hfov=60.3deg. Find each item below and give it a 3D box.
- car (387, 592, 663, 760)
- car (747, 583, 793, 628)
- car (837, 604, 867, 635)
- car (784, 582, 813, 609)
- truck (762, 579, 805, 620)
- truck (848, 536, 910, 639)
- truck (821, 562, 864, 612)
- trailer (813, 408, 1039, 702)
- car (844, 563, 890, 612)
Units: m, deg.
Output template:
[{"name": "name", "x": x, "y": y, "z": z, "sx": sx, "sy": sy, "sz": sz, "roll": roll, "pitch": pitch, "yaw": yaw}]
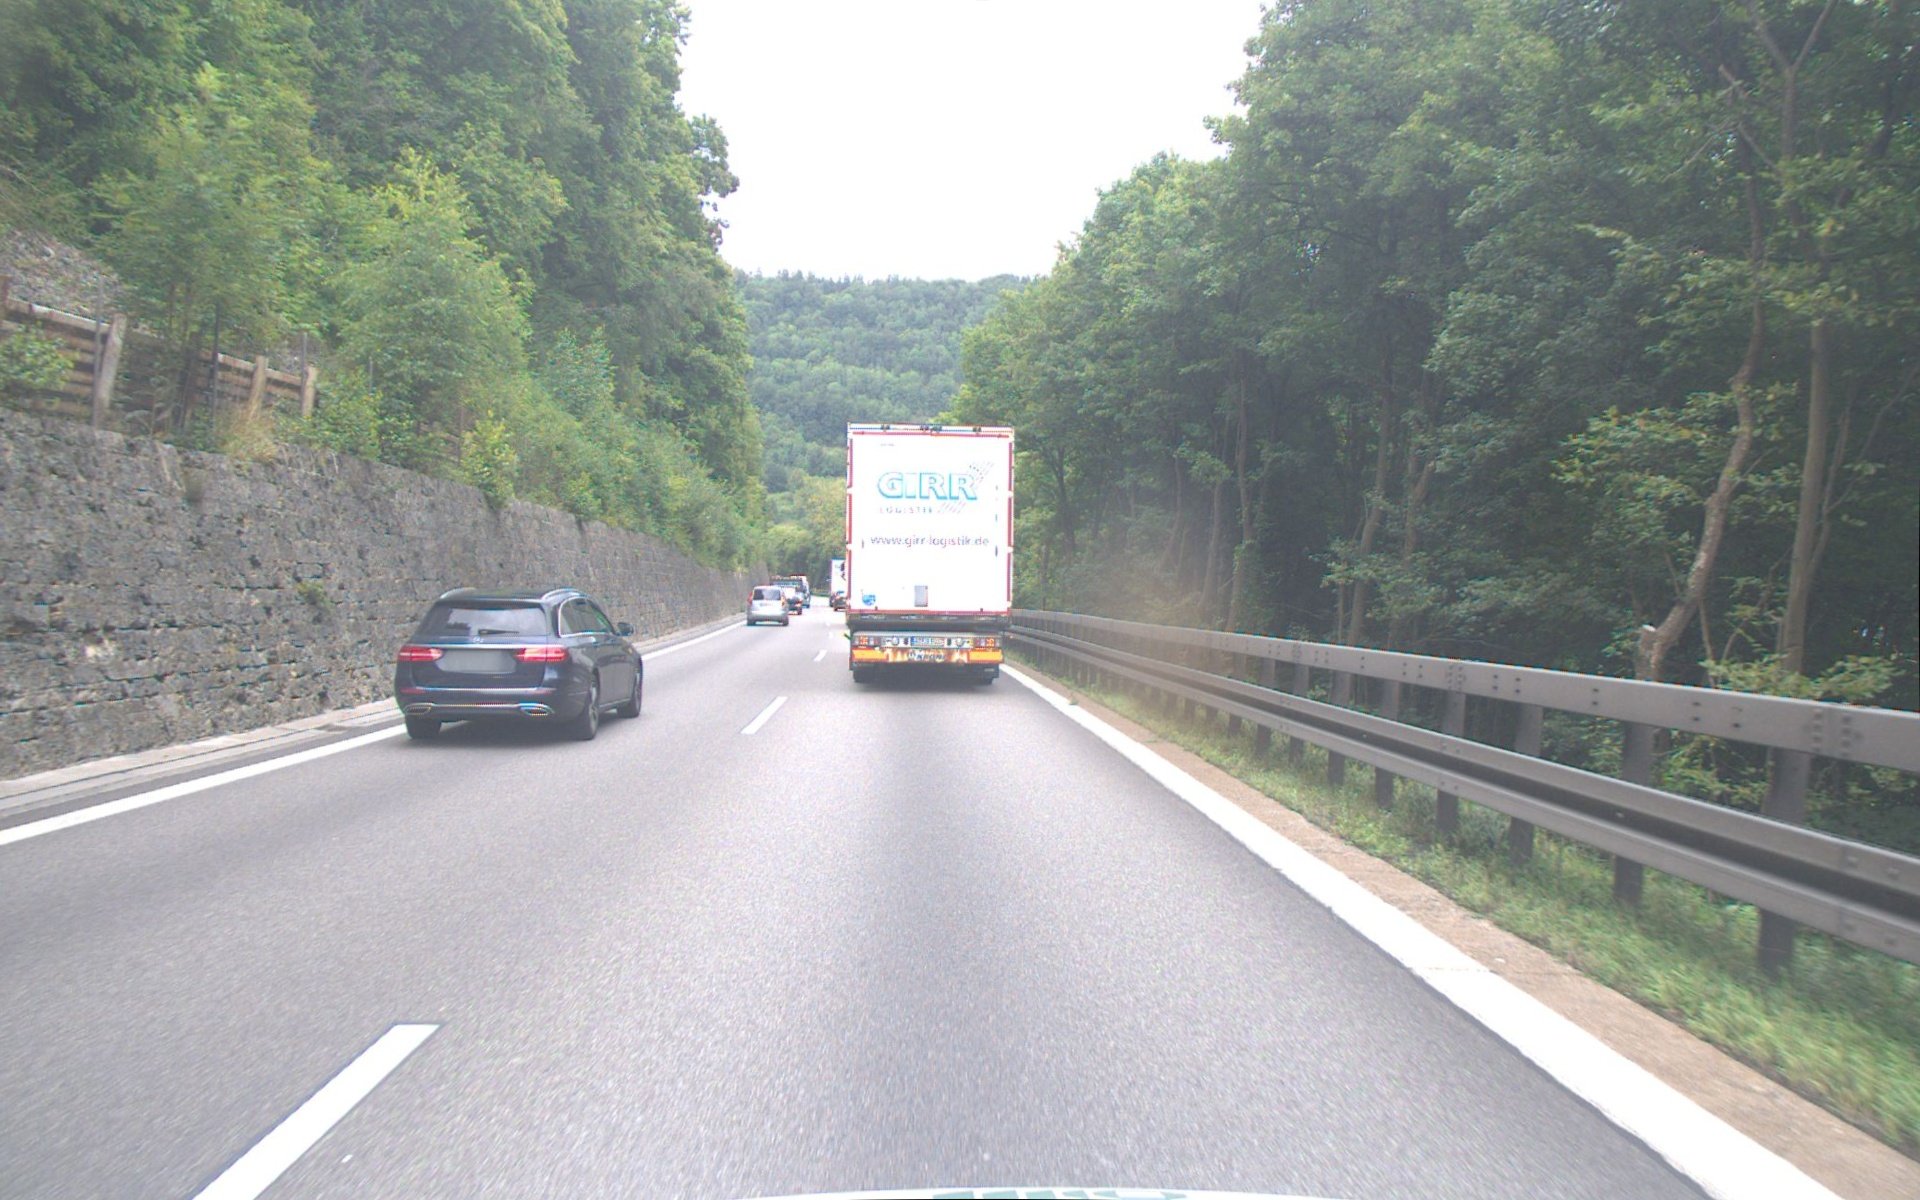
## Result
[{"name": "car", "x": -4.457, "y": 0.689, "z": 17.764, "sx": 1.725, "sy": 1.489, "sz": 5.121, "roll": 1, "pitch": 0, "yaw": -2}, {"name": "car", "x": -7.913, "y": 0.233, "z": 69.143, "sx": 1.601, "sy": 1.757, "sz": 4.342, "roll": 2, "pitch": 0, "yaw": -3}, {"name": "car", "x": -7.634, "y": 1.343, "z": 117.048, "sx": 1.954, "sy": 2.049, "sz": 3.997, "roll": 3, "pitch": 0, "yaw": -4}, {"name": "car", "x": -12.777, "y": -0.349, "z": 131.081, "sx": 1.978, "sy": 1.947, "sz": 5.560, "roll": 3, "pitch": 0, "yaw": -3}, {"name": "truck", "x": -10.695, "y": -0.035, "z": 100.786, "sx": 2.303, "sy": 2.313, "sz": 6.842, "roll": 3, "pitch": 0, "yaw": -5}, {"name": "truck", "x": -3.247, "y": -0.453, "z": 67.397, "sx": 2.189, "sy": 3.870, "sz": 6.820, "roll": 3, "pitch": 0, "yaw": -2}, {"name": "truck", "x": -10.053, "y": -1.073, "z": 140.600, "sx": 3.011, "sy": 3.944, "sz": 8.444, "roll": 3, "pitch": 0, "yaw": -7}, {"name": "trailer", "x": -0.753, "y": -0.699, "z": 29.203, "sx": 3.071, "sy": 4.112, "sz": 9.433, "roll": 4, "pitch": 0, "yaw": -3}, {"name": "car", "x": -4.228, "y": -0.550, "z": 75.683, "sx": 1.954, "sy": 2.049, "sz": 4.330, "roll": 3, "pitch": 0, "yaw": -3}]
